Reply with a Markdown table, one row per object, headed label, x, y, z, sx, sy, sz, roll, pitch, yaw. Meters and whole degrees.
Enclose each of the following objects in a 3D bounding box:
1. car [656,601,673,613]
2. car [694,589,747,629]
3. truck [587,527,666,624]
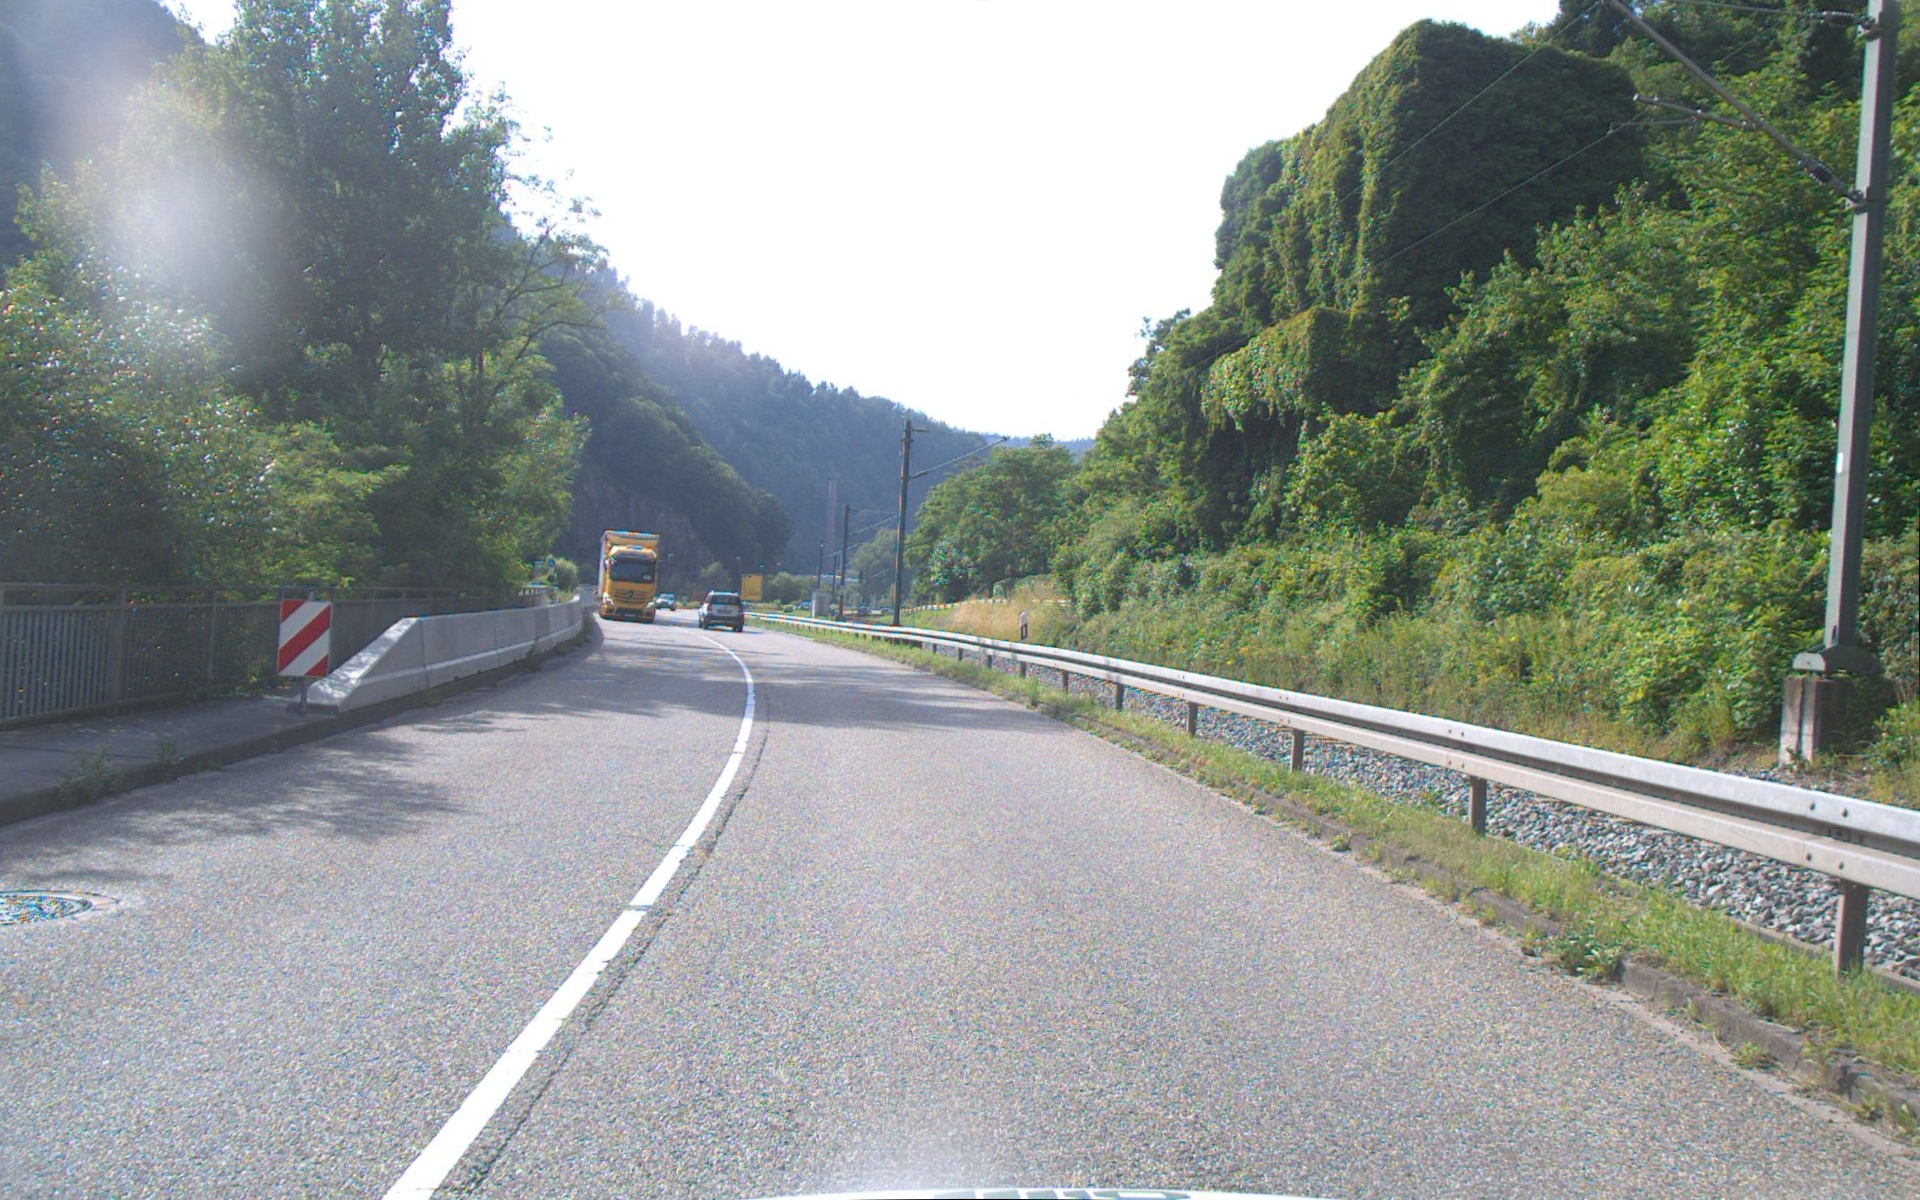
| label | x | y | z | sx | sy | sz | roll | pitch | yaw |
| --- | --- | --- | --- | --- | --- | --- | --- | --- | --- |
| car | -31.504 | 0.740 | 176.393 | 1.444 | 1.103 | 3.270 | 5 | 0 | -4 |
| car | -10.617 | 0.378 | 73.054 | 1.842 | 1.685 | 3.984 | 1 | -1 | -15 |
| truck | -16.768 | -1.078 | 82.535 | 3.312 | 4.460 | 12.662 | 0 | 0 | -14 |
